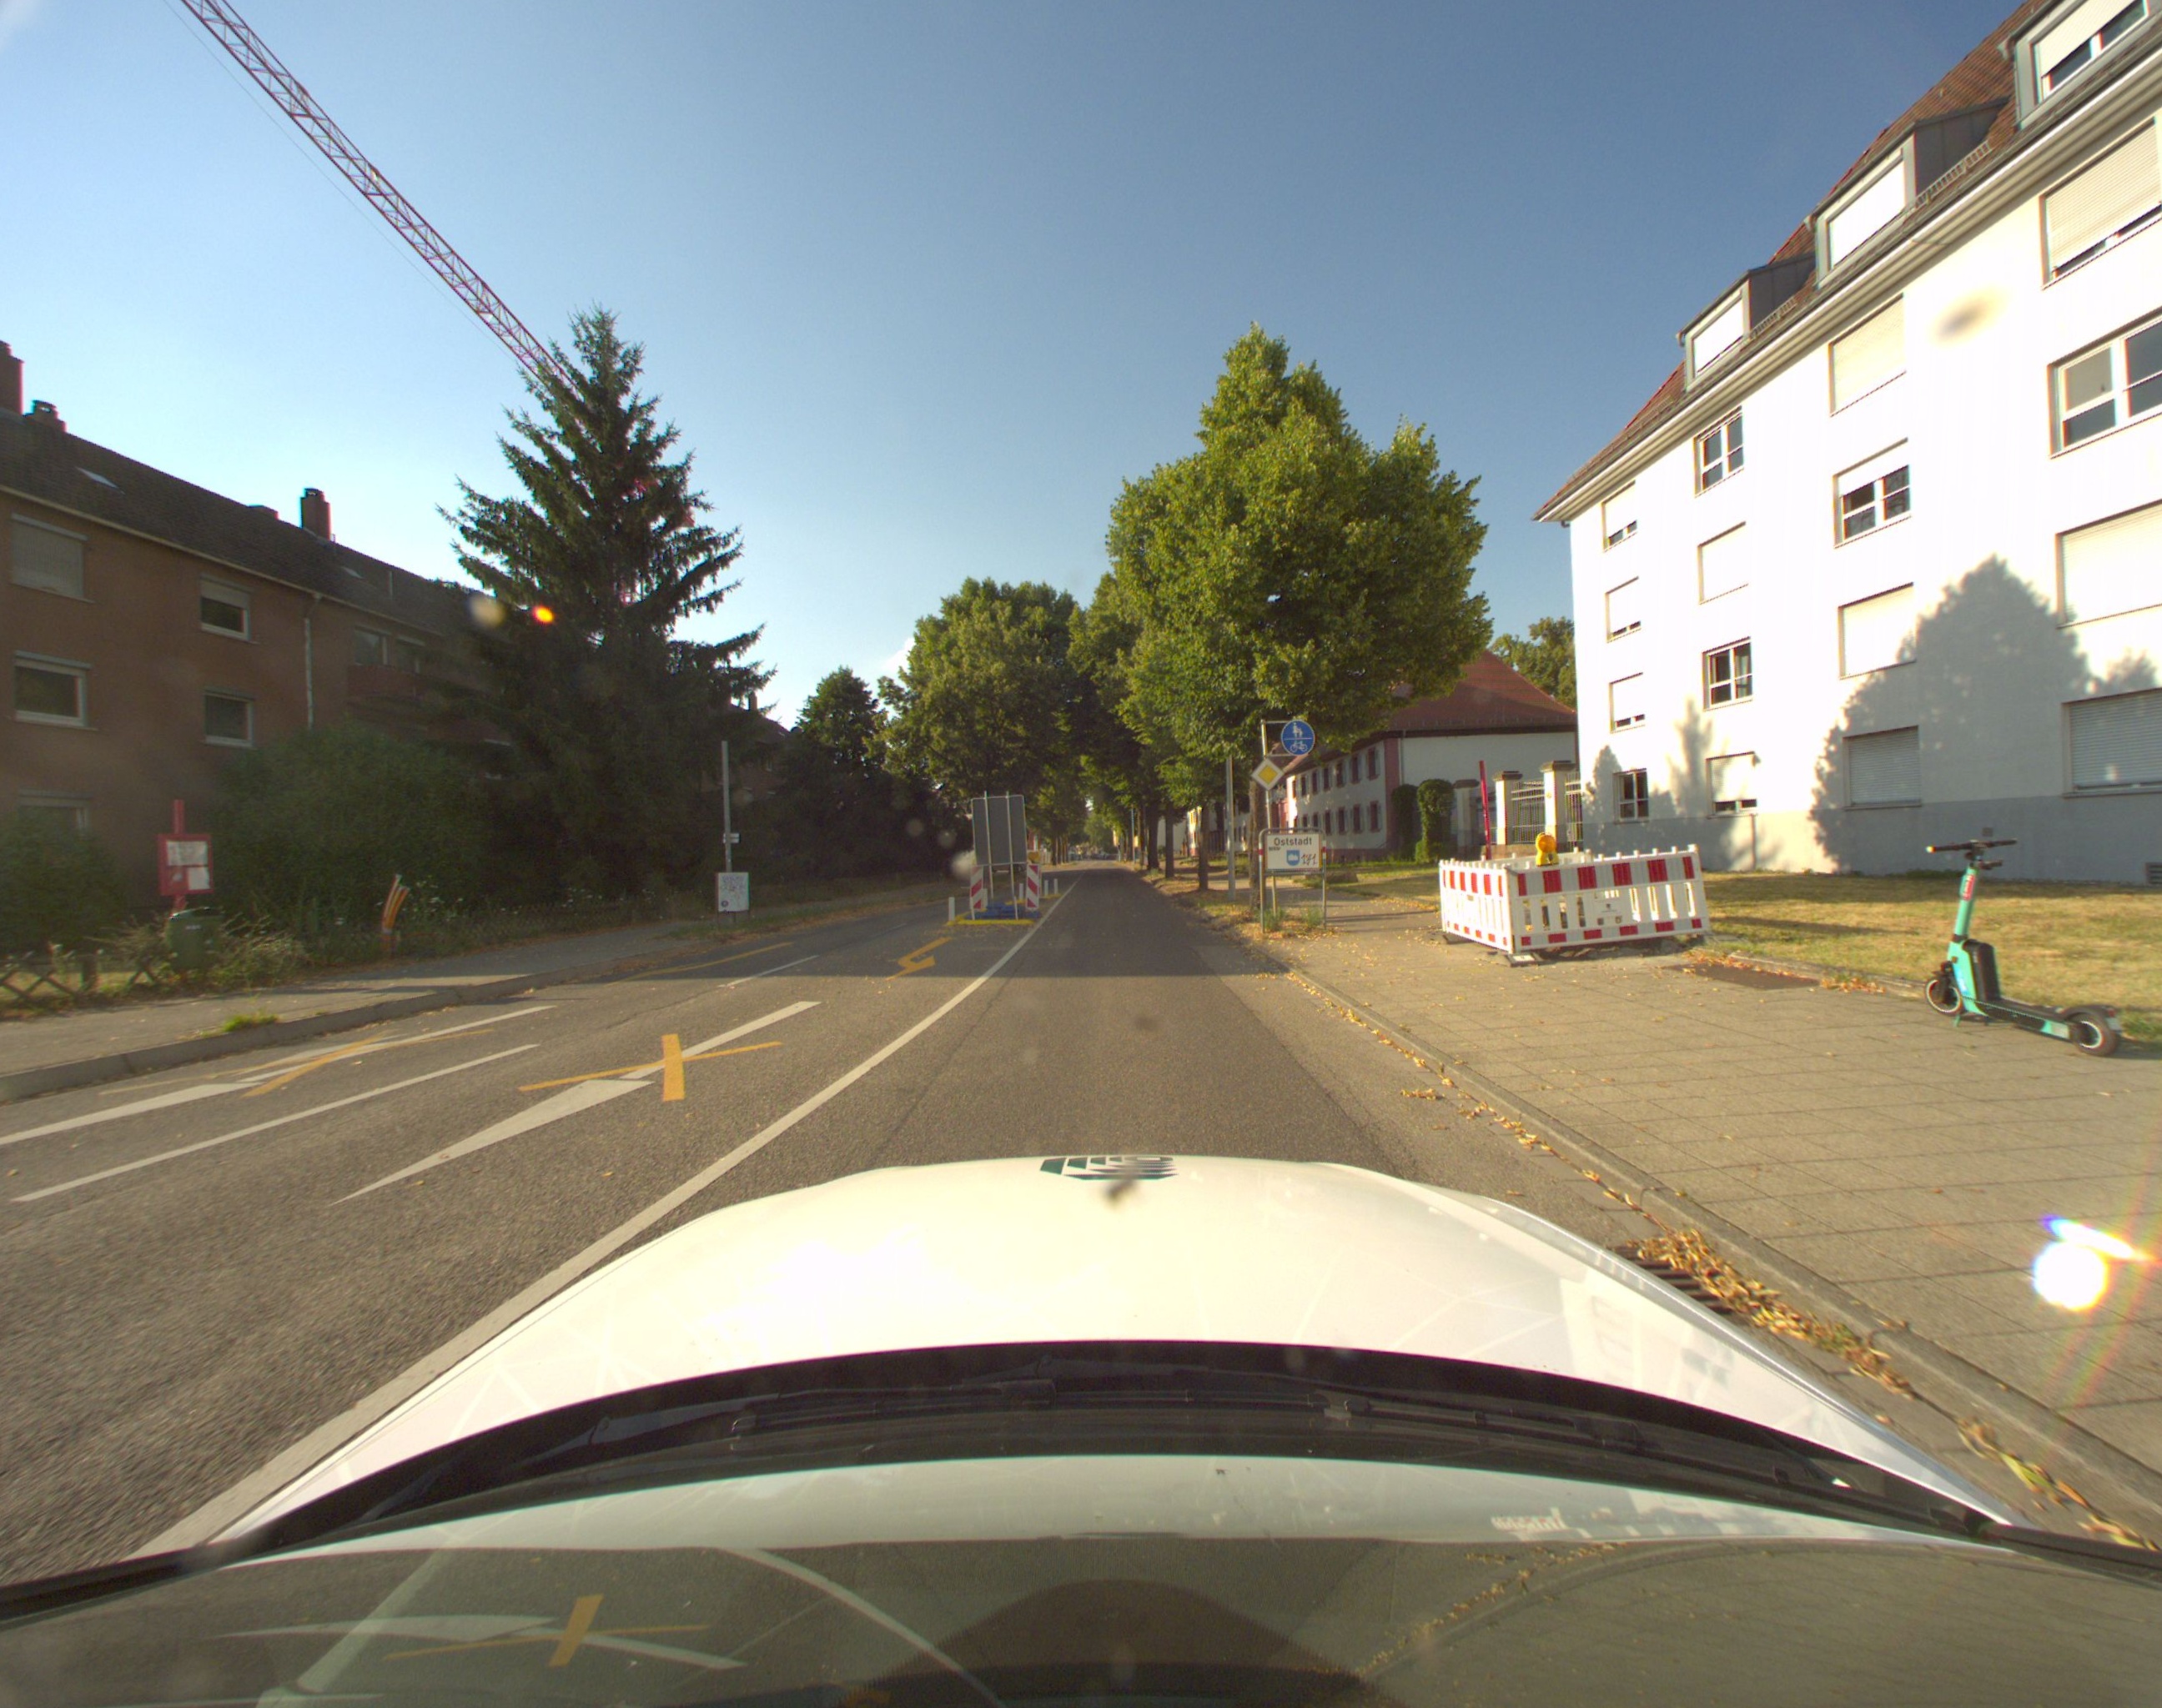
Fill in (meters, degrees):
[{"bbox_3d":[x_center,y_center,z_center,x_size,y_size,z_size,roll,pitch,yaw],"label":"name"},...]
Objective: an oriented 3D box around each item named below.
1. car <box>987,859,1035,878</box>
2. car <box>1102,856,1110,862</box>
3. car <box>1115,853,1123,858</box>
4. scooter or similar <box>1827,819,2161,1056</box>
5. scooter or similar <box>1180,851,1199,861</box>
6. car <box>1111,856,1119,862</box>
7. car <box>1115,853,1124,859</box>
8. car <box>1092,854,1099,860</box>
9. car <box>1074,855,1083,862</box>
[{"bbox_3d":[-6.007,1.210,69.728,3.827,1.473,1.652,-2,0,3],"label":"car"},{"bbox_3d":[7.183,1.453,233.935,1.836,1.386,3.997,-3,-1,-2],"label":"car"},{"bbox_3d":[9.278,0.299,197.984,1.833,1.261,4.005,-2,0,4],"label":"car"},{"bbox_3d":[5.878,0.462,5.337,0.557,1.292,1.463,-6,1,2],"label":"scooter or similar"},{"bbox_3d":[8.452,0.144,63.420,1.221,0.548,1.064,-11,0,1],"label":"scooter or similar"},{"bbox_3d":[8.579,1.212,204.805,1.835,1.261,4.001,-3,-1,1],"label":"car"},{"bbox_3d":[8.847,0.534,187.263,1.835,1.261,4.001,-3,-1,1],"label":"car"},{"bbox_3d":[4.262,0.862,238.316,1.710,1.486,3.996,-3,-1,-2],"label":"car"},{"bbox_3d":[-0.688,1.202,209.987,1.990,1.687,3.994,-3,-1,-4],"label":"car"}]
